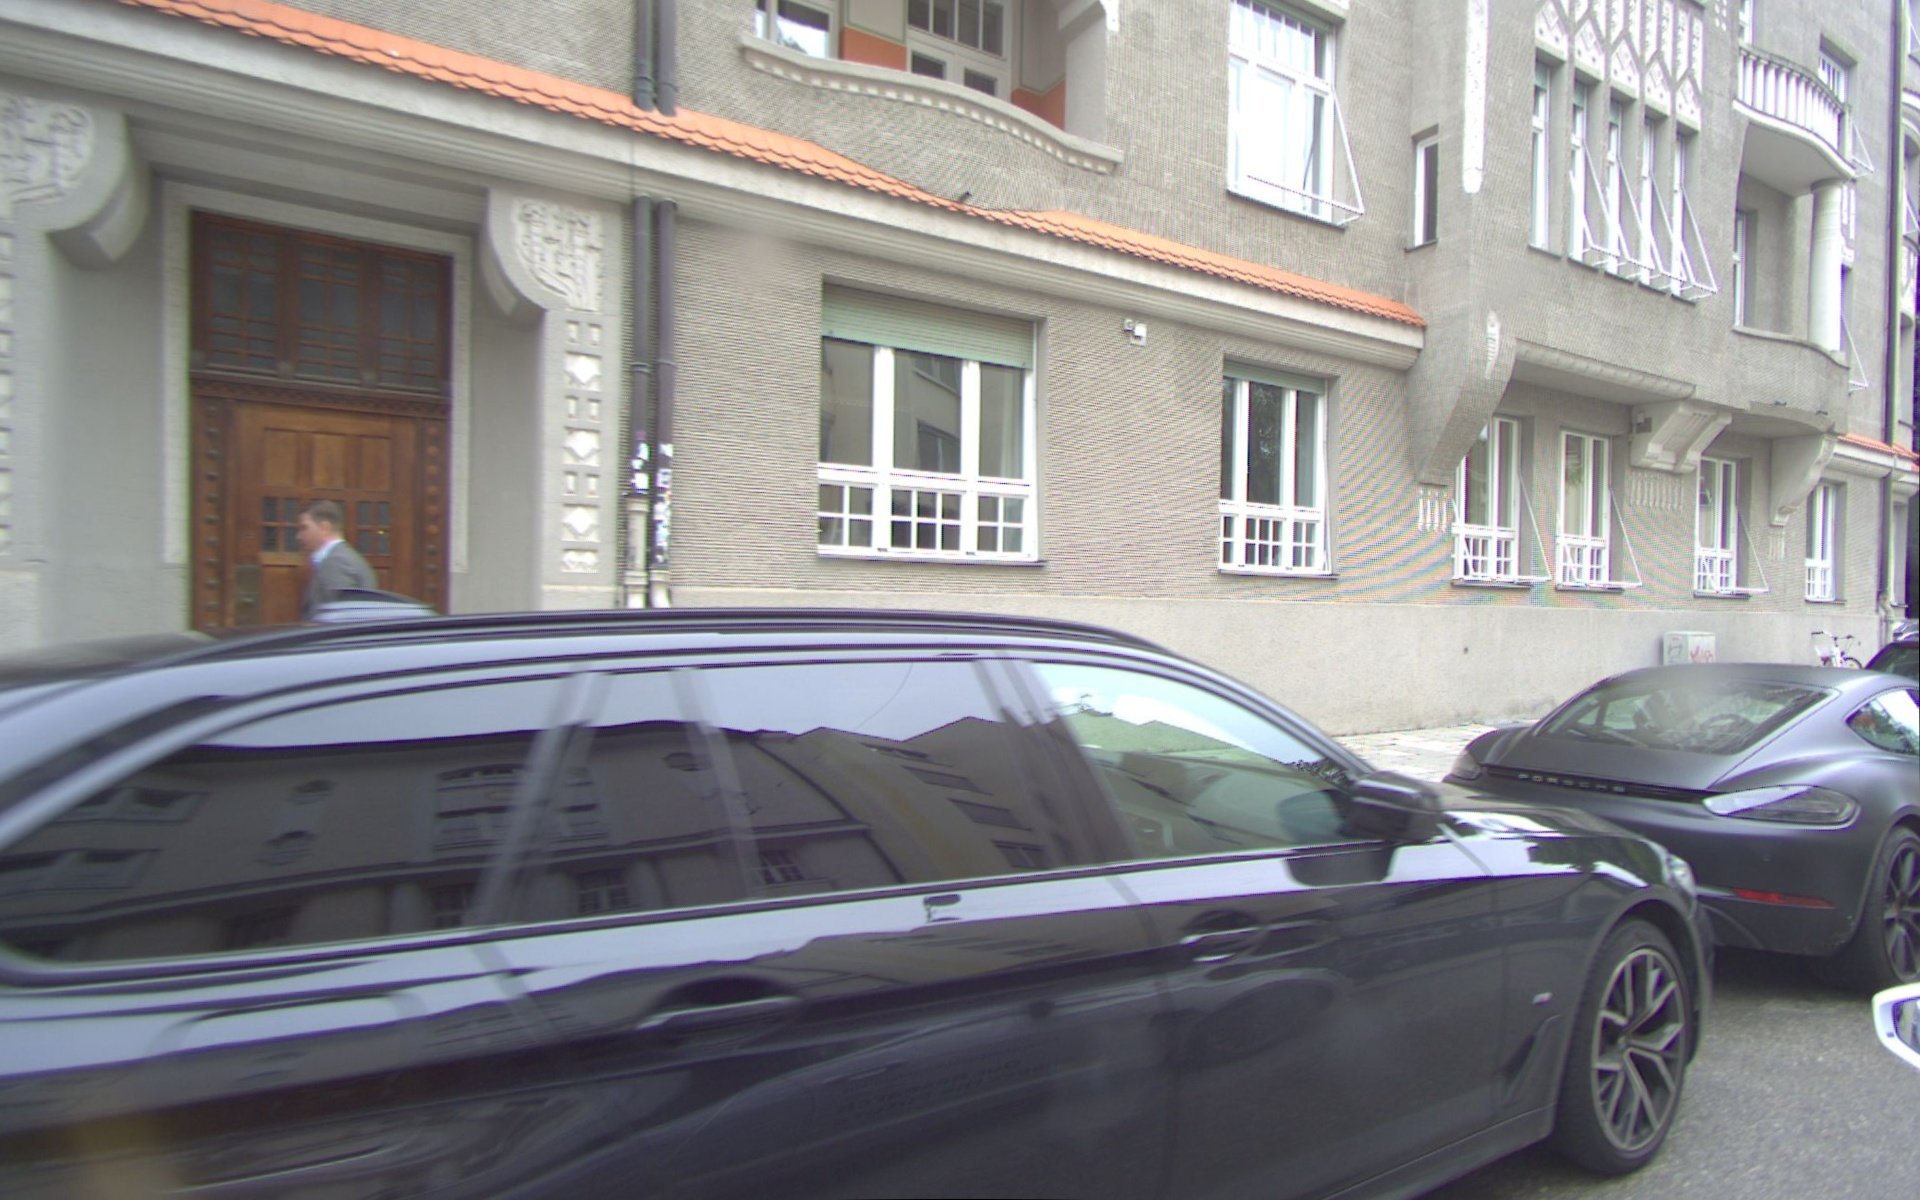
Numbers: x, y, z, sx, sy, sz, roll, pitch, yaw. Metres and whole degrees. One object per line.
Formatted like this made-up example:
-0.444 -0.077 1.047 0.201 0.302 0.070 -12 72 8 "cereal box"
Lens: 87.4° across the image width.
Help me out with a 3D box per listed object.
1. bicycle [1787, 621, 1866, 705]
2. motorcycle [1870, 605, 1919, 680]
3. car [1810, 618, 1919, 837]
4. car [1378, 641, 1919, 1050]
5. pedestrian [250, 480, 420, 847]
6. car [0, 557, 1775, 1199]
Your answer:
14.935 1.068 17.305 1.658 1.367 0.614 1 0 -35 "bicycle"
19.486 0.854 20.540 2.123 1.460 0.732 1 0 -32 "motorcycle"
8.946 0.950 8.071 4.651 1.535 1.747 1 0 -30 "car"
4.281 0.927 5.281 4.047 1.349 1.747 1 0 -30 "car"
-3.411 0.322 5.524 0.722 1.841 0.713 1 1 -31 "pedestrian"
-0.028 0.724 2.655 4.726 1.467 1.983 1 0 -32 "car"
